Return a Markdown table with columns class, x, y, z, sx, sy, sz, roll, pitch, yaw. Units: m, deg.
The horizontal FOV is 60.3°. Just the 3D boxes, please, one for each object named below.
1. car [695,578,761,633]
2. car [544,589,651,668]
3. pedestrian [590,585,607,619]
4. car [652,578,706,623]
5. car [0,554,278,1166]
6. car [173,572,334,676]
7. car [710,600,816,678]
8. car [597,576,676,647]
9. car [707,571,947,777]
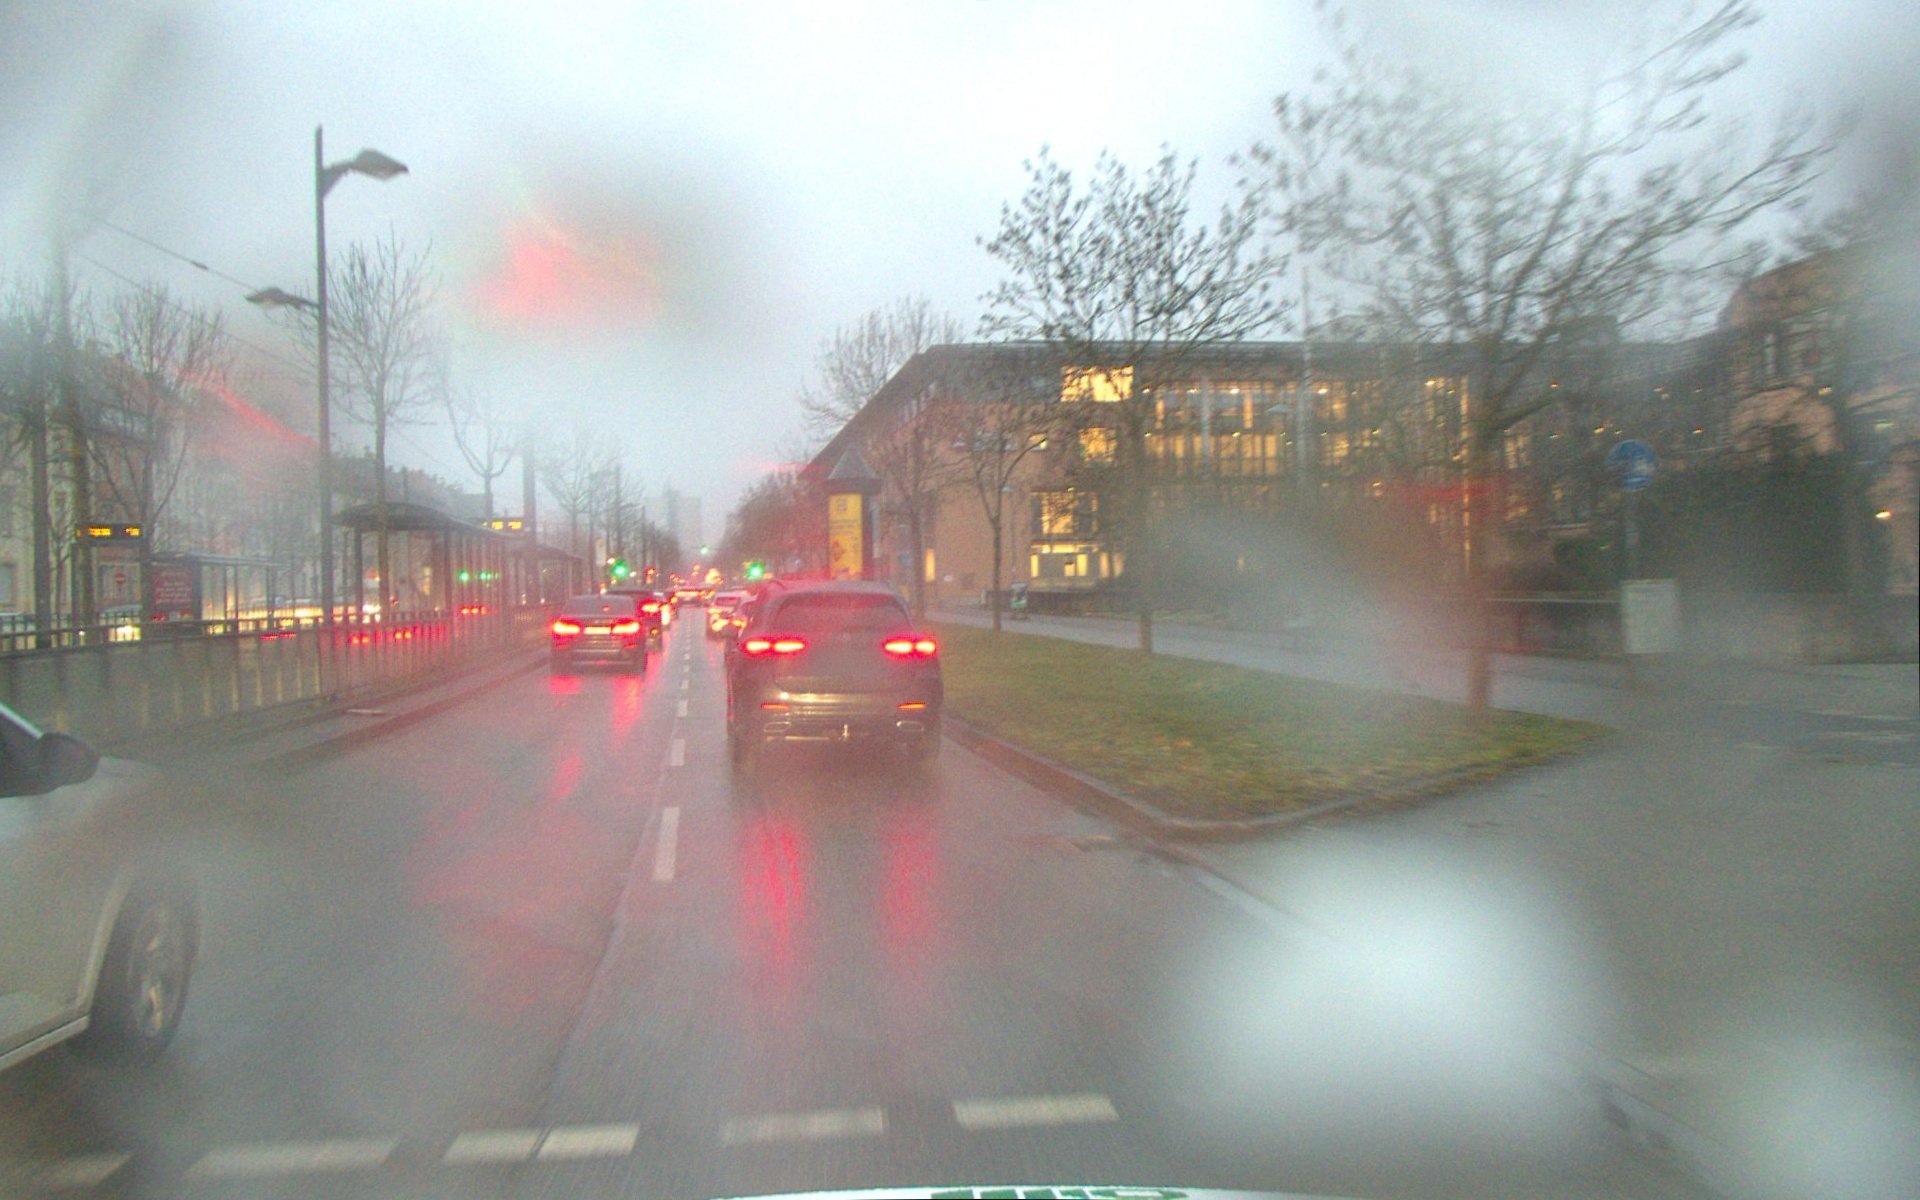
| class | x | y | z | sx | sy | sz | roll | pitch | yaw |
| --- | --- | --- | --- | --- | --- | --- | --- | --- | --- |
| car | -7.546 | 0.145 | 53.623 | 1.957 | 1.646 | 3.991 | -2 | 1 | -10 |
| car | -7.286 | 0.530 | 33.446 | 1.958 | 1.422 | 3.989 | -2 | 1 | -11 |
| pedestrian | -17.123 | 0.111 | 78.346 | 0.686 | 1.579 | 0.667 | -2 | 1 | -10 |
| car | -11.029 | 0.009 | 64.967 | 1.957 | 1.646 | 3.991 | -2 | 1 | -10 |
| car | -3.180 | 0.670 | 3.832 | 1.593 | 1.513 | 3.999 | -2 | 1 | -2 |
| car | -13.905 | 0.422 | 32.784 | 1.957 | 1.854 | 3.991 | -2 | 1 | -9 |
| car | -4.147 | 0.762 | 34.375 | 1.957 | 1.432 | 3.991 | -2 | 1 | -10 |
| car | -8.846 | 0.286 | 45.531 | 1.957 | 1.796 | 3.991 | -2 | 1 | -9 |
| car | -1.368 | 0.583 | 15.753 | 1.954 | 1.644 | 3.993 | -2 | 1 | -8 |
